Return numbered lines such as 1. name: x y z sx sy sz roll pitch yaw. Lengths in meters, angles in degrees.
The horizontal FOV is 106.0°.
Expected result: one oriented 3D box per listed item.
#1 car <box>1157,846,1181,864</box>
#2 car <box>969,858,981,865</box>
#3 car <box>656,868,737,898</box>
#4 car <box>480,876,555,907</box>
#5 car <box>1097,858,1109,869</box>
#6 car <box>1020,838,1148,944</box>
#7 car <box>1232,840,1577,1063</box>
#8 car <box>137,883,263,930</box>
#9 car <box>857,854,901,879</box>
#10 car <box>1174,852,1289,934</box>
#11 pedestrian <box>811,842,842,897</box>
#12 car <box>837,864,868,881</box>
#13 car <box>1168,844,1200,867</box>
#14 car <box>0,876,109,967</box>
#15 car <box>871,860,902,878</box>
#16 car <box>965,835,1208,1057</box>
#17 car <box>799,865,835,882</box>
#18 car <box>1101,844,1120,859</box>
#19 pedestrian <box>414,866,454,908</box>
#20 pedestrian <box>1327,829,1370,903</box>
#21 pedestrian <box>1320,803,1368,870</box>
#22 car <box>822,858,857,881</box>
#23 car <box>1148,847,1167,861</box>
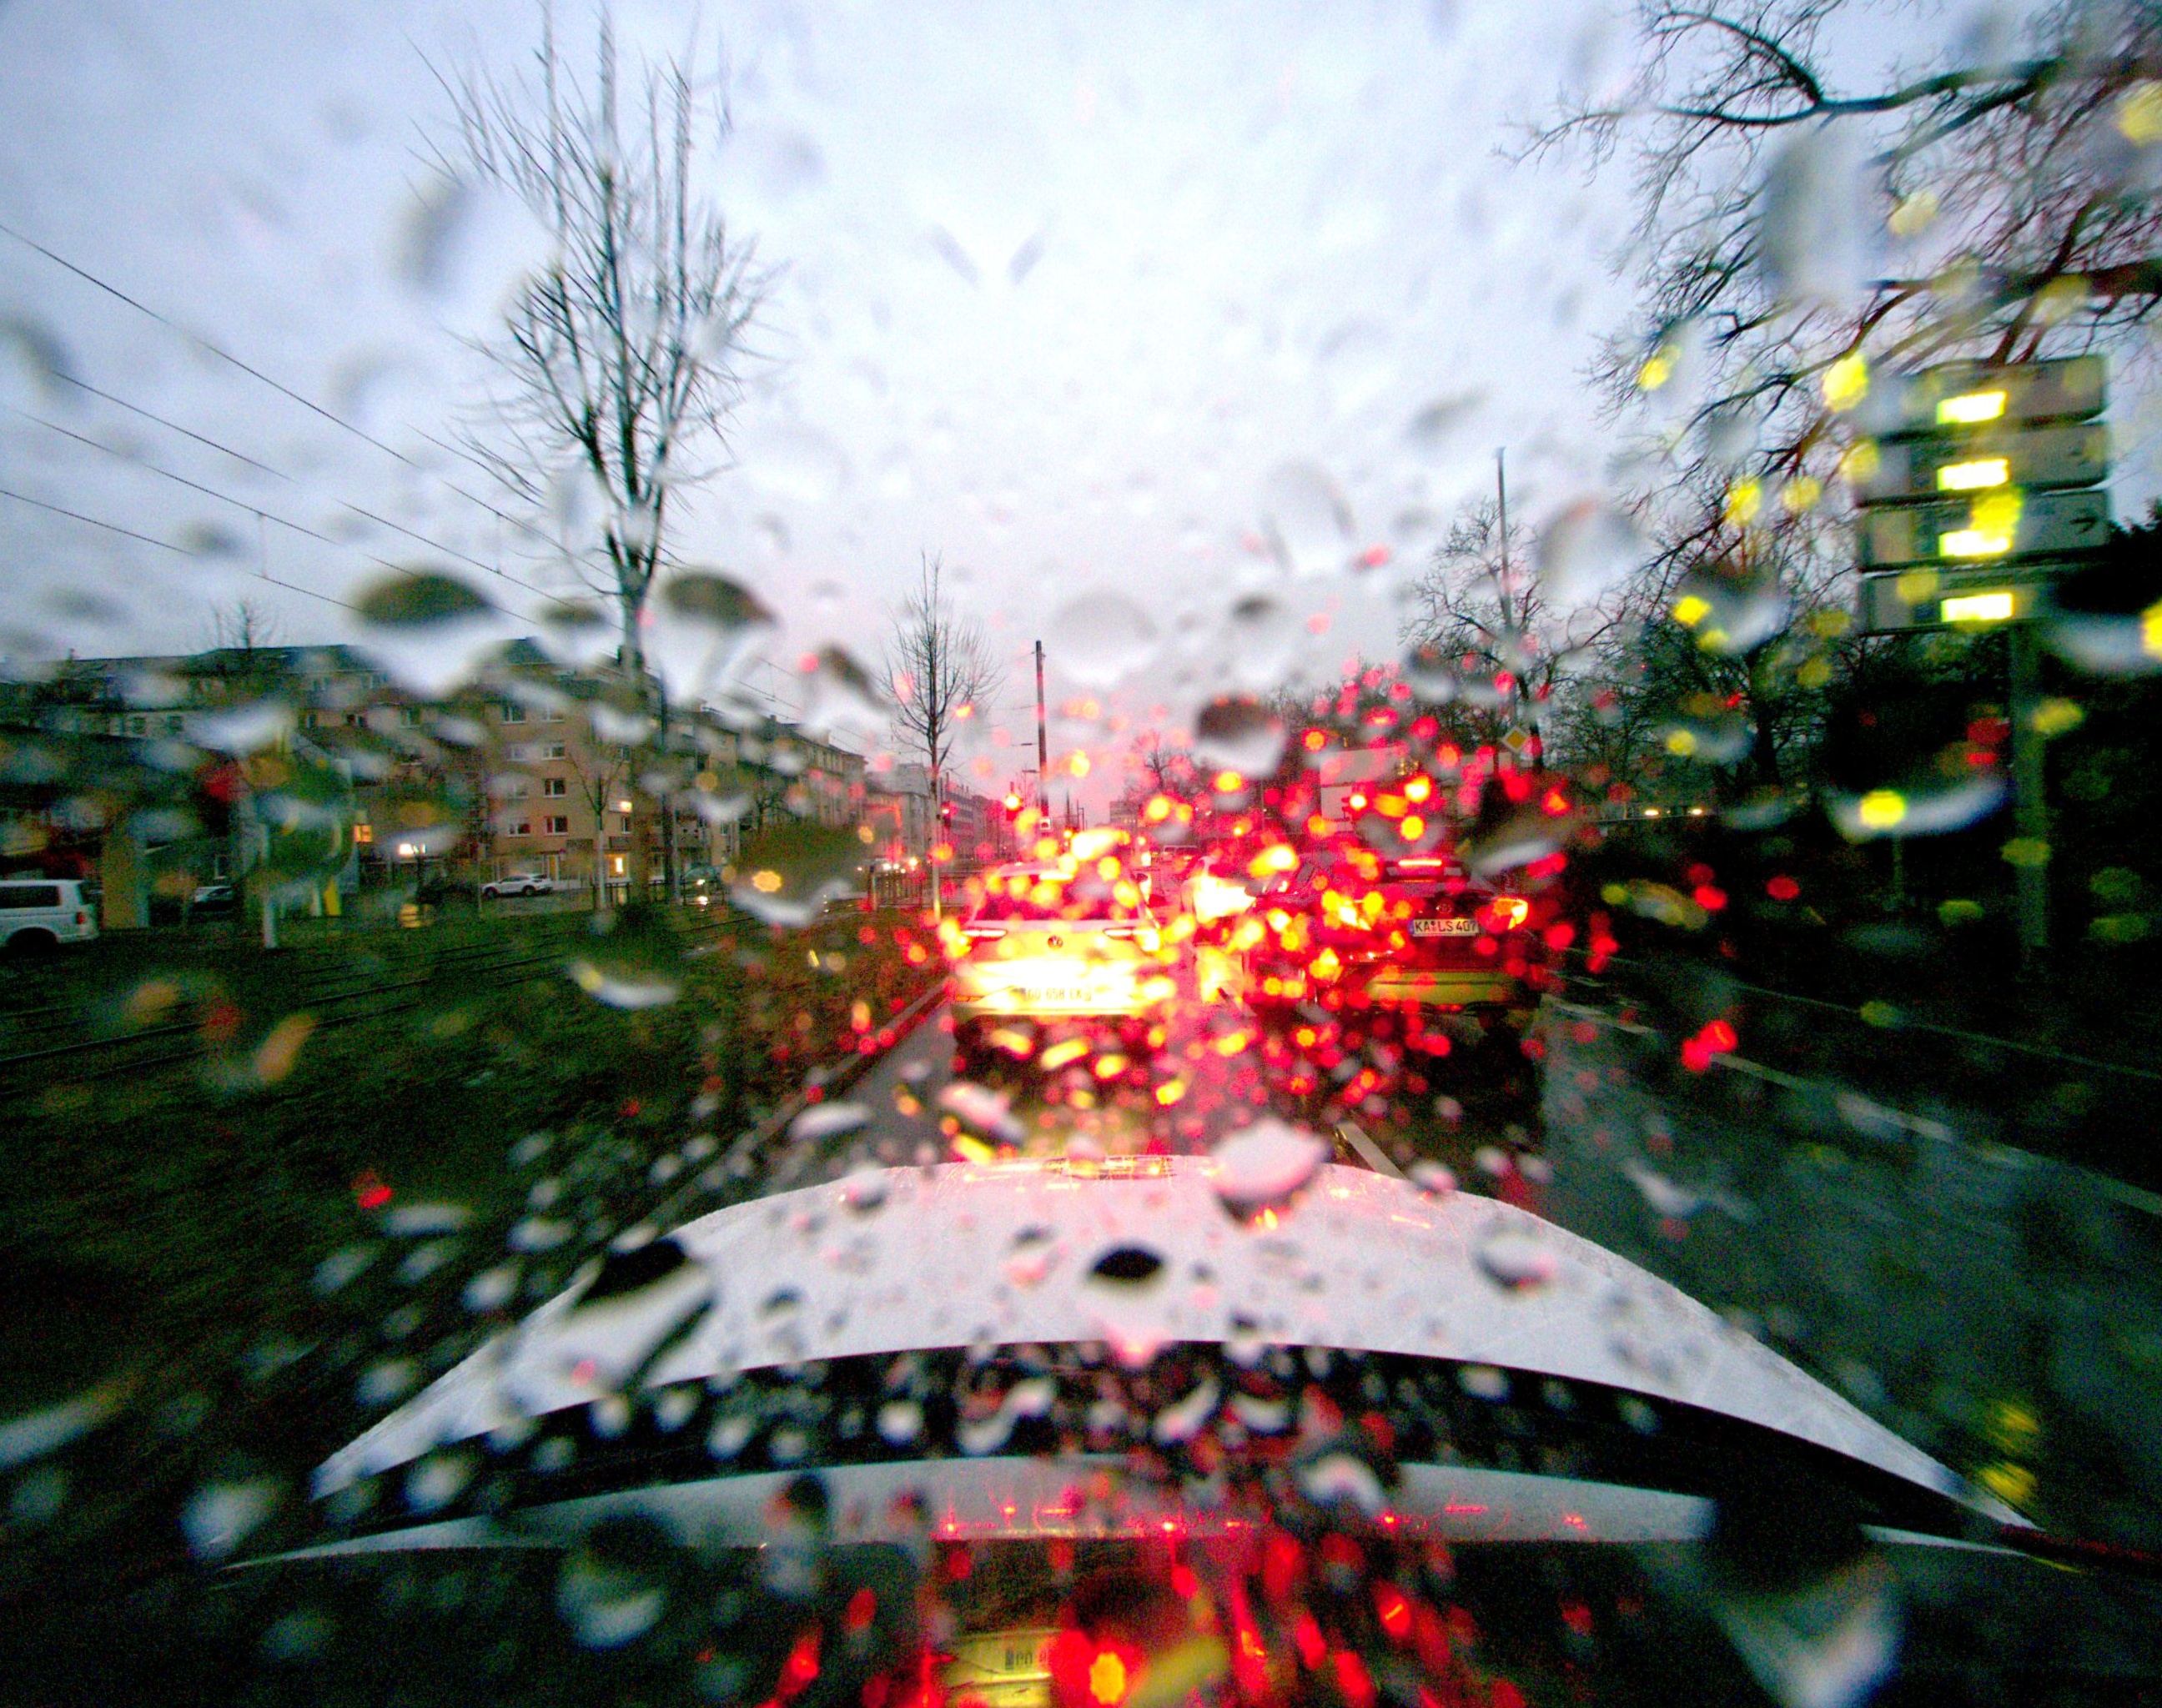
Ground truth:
1. car: 7.667 0.087 71.278 1.731 1.419 3.705 -2 0 2
2. car: -21.934 1.548 168.538 1.942 1.602 4.002 0 0 2
3. car: -19.027 1.409 40.552 1.852 1.332 4.317 0 0 2
4. car: -38.501 2.545 55.702 3.743 1.942 1.838 0 0 -6
5. car: 3.287 1.399 122.559 1.731 1.419 3.805 -2 0 2
6. car: 0.124 0.516 14.034 1.792 1.466 4.588 -2 0 2
7. car: 2.633 0.684 7.680 1.793 1.511 3.897 -2 0 2
8. car: -43.031 2.524 39.914 1.886 2.013 3.876 0 0 2
9. car: -13.950 0.836 56.377 1.986 1.602 4.001 0 0 1
10. car: 2.860 0.689 16.168 1.738 1.433 3.733 0 0 2
11. pedestrian: -9.638 0.569 30.858 1.008 2.013 0.955 -2 0 -20
12. car: -19.383 1.558 69.201 1.688 1.277 4.142 -2 0 -4
13. car: 6.699 0.091 53.192 1.731 1.419 3.705 -2 0 2
14. car: -28.714 1.738 20.754 4.859 2.244 1.975 0 0 -44
15. car: -18.670 1.396 78.321 1.860 1.577 4.002 -2 0 2
16. car: 0.023 0.630 7.731 1.688 1.533 3.999 -1 0 -1
17. car: -22.057 1.604 68.090 1.684 1.277 3.538 -2 0 2
18. car: 2.944 -0.256 80.567 1.731 1.419 4.396 -2 0 2
19. pedestrian: -32.213 1.624 40.565 1.274 2.013 1.000 -2 0 -22
20. pedestrian: 7.585 0.330 23.132 0.953 2.013 1.010 -2 0 10
21. pedestrian: 8.150 -0.536 25.260 0.962 2.013 1.001 -2 0 -21
22. car: -22.441 1.406 75.914 1.986 2.013 4.001 0 0 2
23. car: 8.520 -0.044 90.889 1.731 1.419 4.148 -2 0 2
